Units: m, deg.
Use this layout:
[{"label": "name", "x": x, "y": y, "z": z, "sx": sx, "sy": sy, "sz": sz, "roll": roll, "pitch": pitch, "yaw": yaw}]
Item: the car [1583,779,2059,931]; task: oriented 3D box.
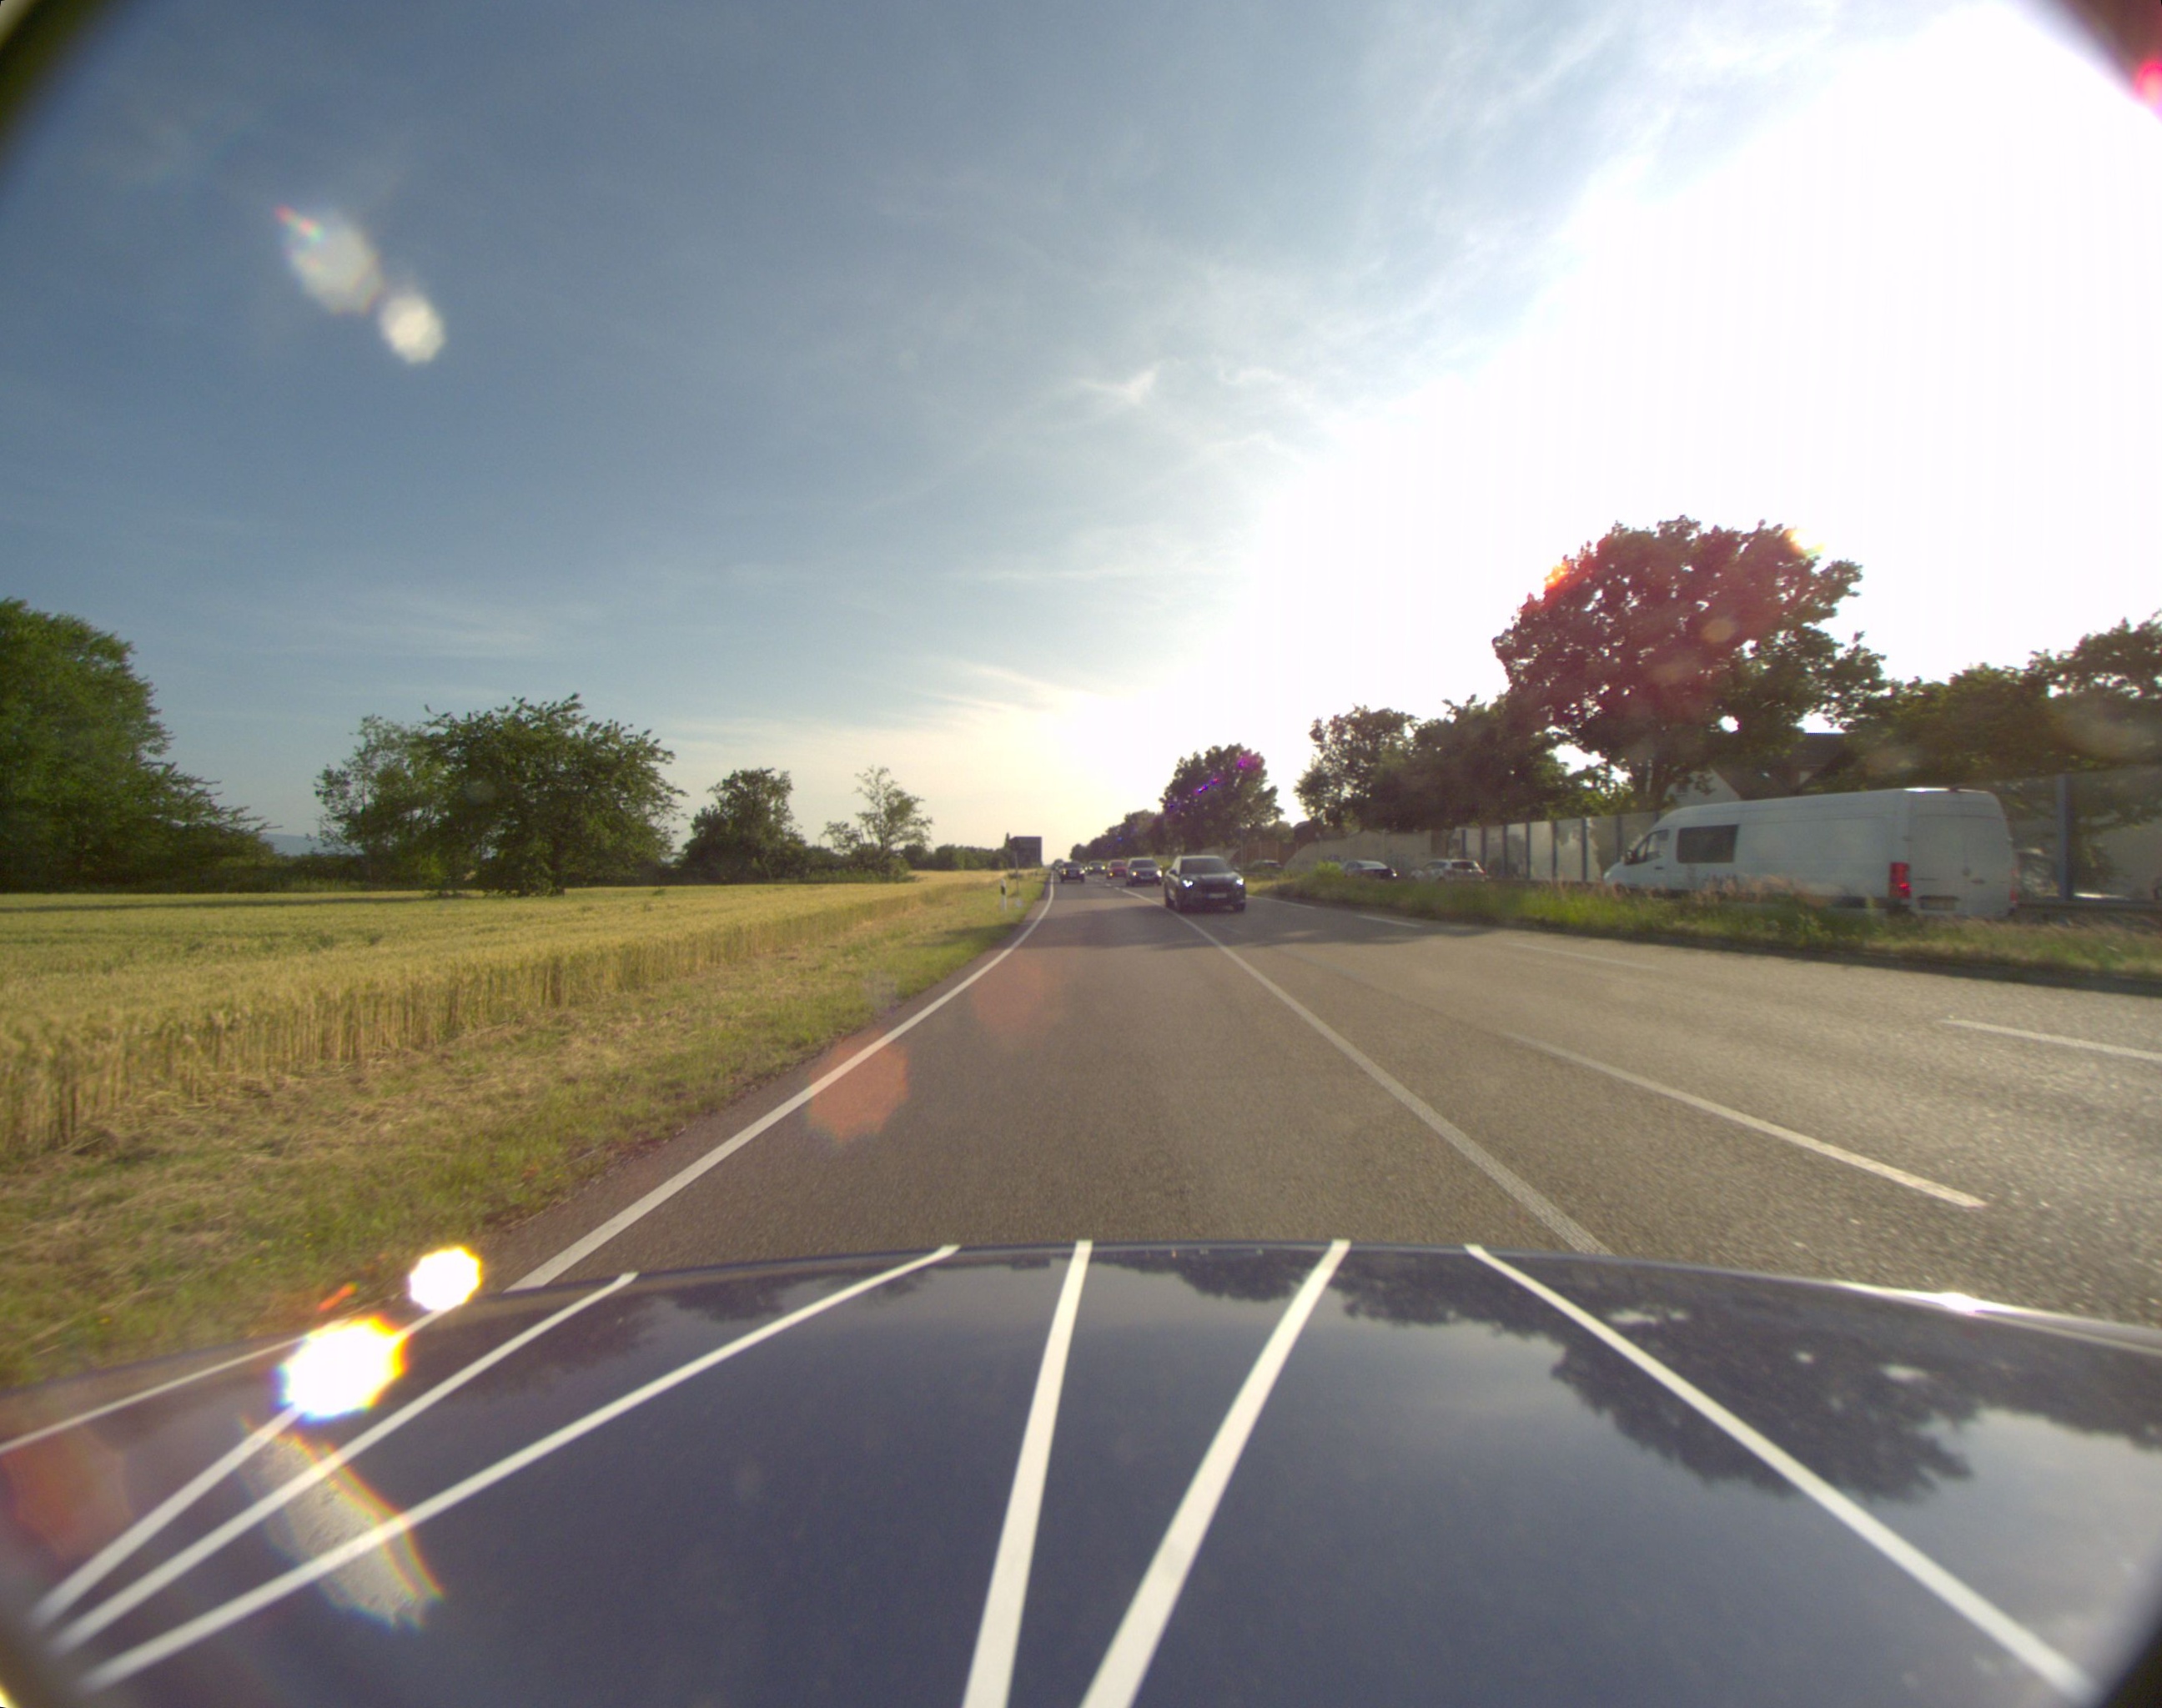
[{"label": "car", "x": 13.899, "y": 0.029, "z": 15.397, "sx": 2.355, "sy": 2.290, "sz": 7.189, "roll": -2, "pitch": 0, "yaw": -3}]

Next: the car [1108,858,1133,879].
[{"label": "car", "x": 3.367, "y": 1.217, "z": 65.489, "sx": 1.823, "sy": 1.661, "sz": 3.999, "roll": -2, "pitch": 0, "yaw": -2}]

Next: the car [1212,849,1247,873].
[{"label": "car", "x": 12.382, "y": 0.583, "z": 63.587, "sx": 1.768, "sy": 1.821, "sz": 4.368, "roll": -2, "pitch": 0, "yaw": -3}]

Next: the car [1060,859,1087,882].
[{"label": "car", "x": -0.577, "y": 1.219, "z": 57.166, "sx": 1.823, "sy": 1.661, "sz": 3.999, "roll": -2, "pitch": 0, "yaw": -2}]

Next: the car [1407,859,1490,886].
[{"label": "car", "x": 17.073, "y": 0.828, "z": 35.524, "sx": 1.673, "sy": 1.098, "sz": 4.412, "roll": -2, "pitch": 0, "yaw": -1}]

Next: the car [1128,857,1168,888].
[{"label": "car", "x": 3.932, "y": 1.074, "z": 45.075, "sx": 1.823, "sy": 1.724, "sz": 3.999, "roll": -2, "pitch": 0, "yaw": -2}]

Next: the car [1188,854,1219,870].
[{"label": "car", "x": 12.218, "y": 0.766, "z": 75.967, "sx": 1.987, "sy": 1.475, "sz": 5.059, "roll": -2, "pitch": 0, "yaw": -3}]

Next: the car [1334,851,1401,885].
[{"label": "car", "x": 13.066, "y": 0.610, "z": 34.850, "sx": 1.653, "sy": 1.433, "sz": 3.567, "roll": -2, "pitch": 0, "yaw": -1}]

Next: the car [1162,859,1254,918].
[{"label": "car", "x": 3.636, "y": 0.936, "z": 22.489, "sx": 1.822, "sy": 1.516, "sz": 4.246, "roll": -2, "pitch": 0, "yaw": -2}]

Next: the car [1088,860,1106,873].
[{"label": "car", "x": 1.950, "y": 1.520, "z": 91.995, "sx": 1.810, "sy": 1.499, "sz": 3.999, "roll": -2, "pitch": 0, "yaw": -3}]

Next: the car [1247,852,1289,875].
[{"label": "car", "x": 12.527, "y": 0.625, "z": 51.163, "sx": 1.519, "sy": 1.456, "sz": 4.657, "roll": -2, "pitch": 0, "yaw": -2}]
